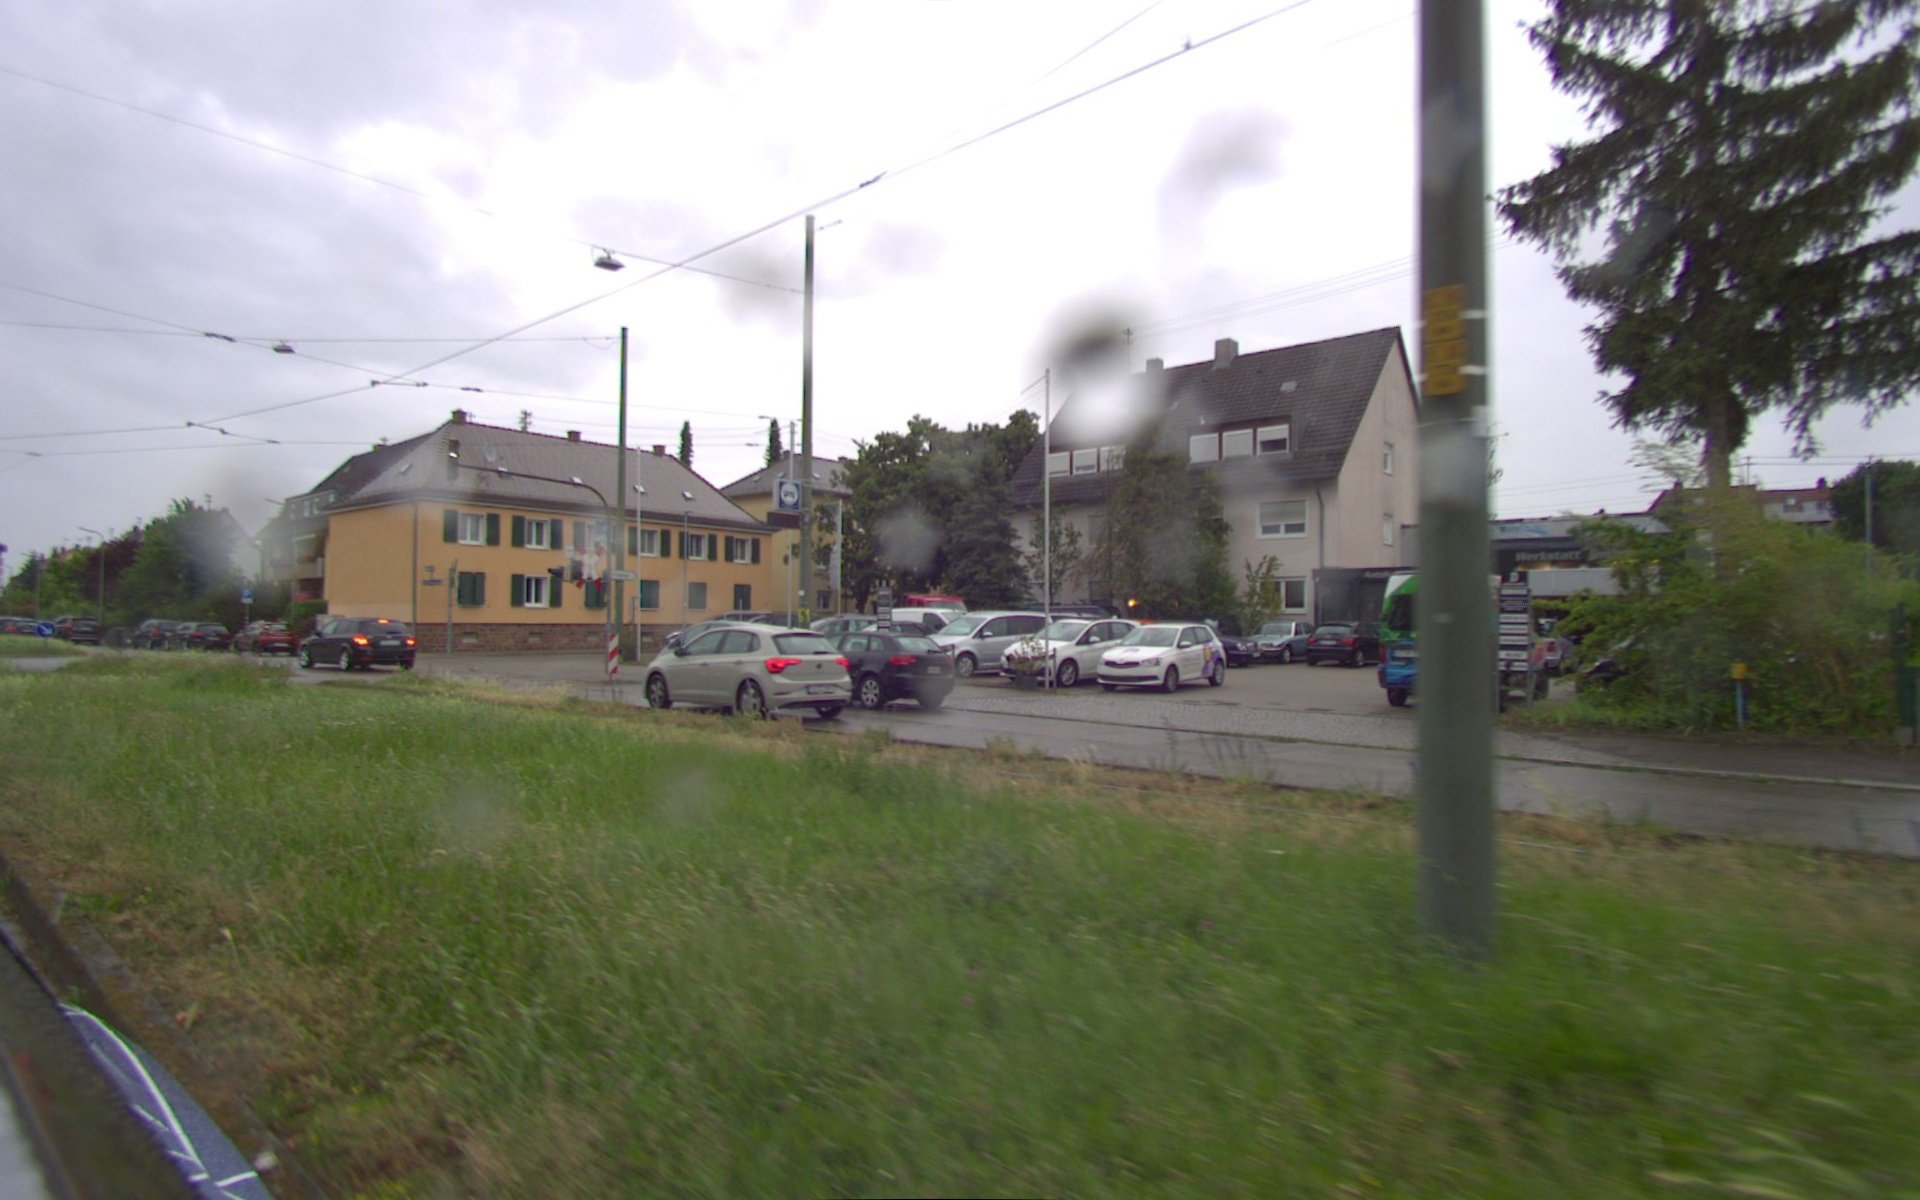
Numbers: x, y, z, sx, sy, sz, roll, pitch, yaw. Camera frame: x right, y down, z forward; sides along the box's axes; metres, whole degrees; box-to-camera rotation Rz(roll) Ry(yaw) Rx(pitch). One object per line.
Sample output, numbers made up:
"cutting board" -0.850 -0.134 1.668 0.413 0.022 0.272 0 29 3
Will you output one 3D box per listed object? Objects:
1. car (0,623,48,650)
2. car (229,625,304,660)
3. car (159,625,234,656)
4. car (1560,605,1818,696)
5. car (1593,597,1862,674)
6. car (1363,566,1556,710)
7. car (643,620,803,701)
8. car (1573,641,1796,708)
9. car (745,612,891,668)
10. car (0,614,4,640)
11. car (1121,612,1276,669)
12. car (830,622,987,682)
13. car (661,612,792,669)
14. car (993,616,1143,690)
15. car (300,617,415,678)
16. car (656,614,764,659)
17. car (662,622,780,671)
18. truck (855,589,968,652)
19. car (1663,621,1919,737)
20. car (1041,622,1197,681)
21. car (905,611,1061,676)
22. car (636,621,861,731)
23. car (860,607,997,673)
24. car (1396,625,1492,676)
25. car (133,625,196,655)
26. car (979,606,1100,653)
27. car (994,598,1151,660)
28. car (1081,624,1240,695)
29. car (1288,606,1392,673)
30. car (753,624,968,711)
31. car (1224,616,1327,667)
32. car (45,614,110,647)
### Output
"car" -53.777 2.072 57.789 3.997 1.487 1.973 -1 -2 40
"car" -30.229 1.821 44.091 3.613 1.349 1.700 2 0 39
"car" -37.293 1.942 49.399 4.501 1.407 1.941 -1 -2 39
"car" 14.291 1.028 19.953 3.892 1.577 1.973 -5 -5 41
"car" 16.902 0.768 22.566 4.366 1.592 1.853 0 -3 20
"car" 9.856 0.685 19.726 2.151 2.424 5.079 2 -1 40
"car" -5.288 1.269 22.405 3.645 1.515 1.698 2 0 44
"car" 18.970 1.923 26.748 4.413 1.592 1.782 0 -3 20
"car" -4.249 1.201 30.203 3.988 1.515 1.839 2 0 -21
"car" -72.110 1.943 74.504 3.997 1.807 1.973 2 0 40
"car" 7.527 1.286 32.209 4.448 1.700 1.971 -2 -3 44
"car" -1.444 1.447 28.547 3.989 1.515 1.839 2 0 -32
"car" -7.453 1.286 32.191 3.932 1.730 2.006 1 -2 -16
"car" 2.637 1.224 24.305 1.724 1.585 3.564 1 -1 44
"car" -17.141 1.301 28.727 4.000 1.497 1.717 2 0 43
"car" -9.265 1.344 37.457 3.806 1.591 1.813 0 -2 -16
"car" -8.176 1.580 34.573 3.806 1.591 1.813 0 -2 -16
"truck" -2.044 0.880 40.200 1.965 2.289 6.121 2 -3 -29
"car" 13.082 1.160 15.197 3.892 1.577 1.973 -5 -5 41
"car" 4.840 1.558 31.272 4.448 1.700 1.971 -2 -3 44
"car" 0.633 1.127 26.452 3.809 1.591 1.811 2 -3 -37
"car" -3.486 1.126 16.296 3.819 1.434 1.583 2 0 42
"car" -1.103 1.323 33.569 4.448 2.029 1.971 -2 -3 44
"car" 14.449 1.467 30.086 1.758 1.342 3.949 2 0 38
"car" -41.881 2.083 53.251 3.995 1.342 1.737 2 0 39
"car" 3.045 1.147 39.241 4.448 1.700 1.971 -2 -3 44
"car" 3.242 0.863 29.679 4.448 1.700 1.735 -2 -3 44
"car" 4.580 1.288 22.842 1.724 1.406 3.786 2 -1 44
"car" 12.163 1.188 32.321 1.999 1.793 3.558 2 3 41
"car" -2.033 1.225 19.620 4.390 1.349 1.698 2 0 44
"car" 10.643 1.363 33.974 1.998 1.577 3.843 1 -1 39
"car" -53.532 1.814 61.363 3.990 1.807 1.977 2 0 34
